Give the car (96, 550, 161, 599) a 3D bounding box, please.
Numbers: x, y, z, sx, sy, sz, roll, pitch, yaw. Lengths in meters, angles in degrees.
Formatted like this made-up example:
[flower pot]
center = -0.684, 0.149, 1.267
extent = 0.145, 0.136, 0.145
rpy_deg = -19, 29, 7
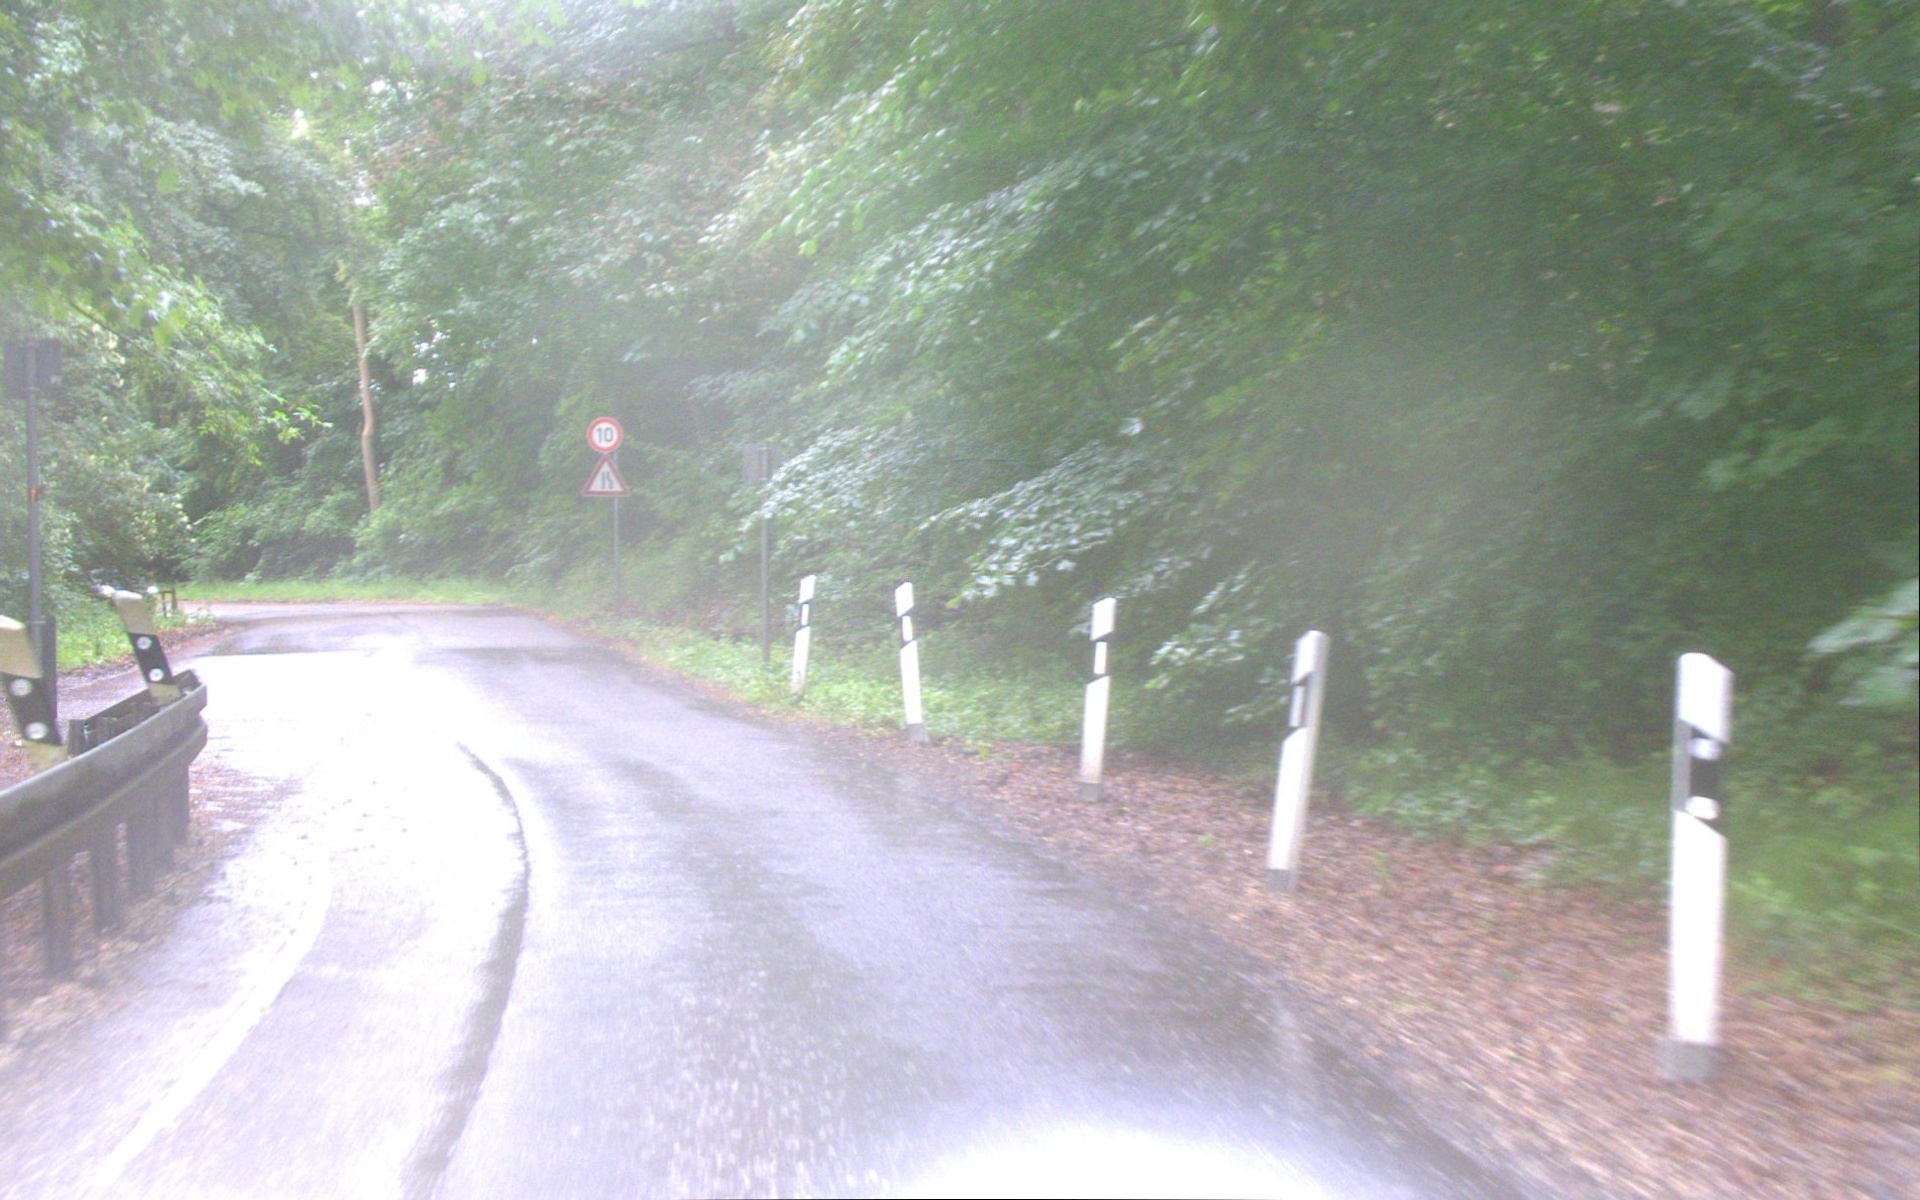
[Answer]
[car]
center = -25.852, -0.803, 106.775
extent = 1.713, 1.470, 3.892
rpy_deg = 0, 1, -17
